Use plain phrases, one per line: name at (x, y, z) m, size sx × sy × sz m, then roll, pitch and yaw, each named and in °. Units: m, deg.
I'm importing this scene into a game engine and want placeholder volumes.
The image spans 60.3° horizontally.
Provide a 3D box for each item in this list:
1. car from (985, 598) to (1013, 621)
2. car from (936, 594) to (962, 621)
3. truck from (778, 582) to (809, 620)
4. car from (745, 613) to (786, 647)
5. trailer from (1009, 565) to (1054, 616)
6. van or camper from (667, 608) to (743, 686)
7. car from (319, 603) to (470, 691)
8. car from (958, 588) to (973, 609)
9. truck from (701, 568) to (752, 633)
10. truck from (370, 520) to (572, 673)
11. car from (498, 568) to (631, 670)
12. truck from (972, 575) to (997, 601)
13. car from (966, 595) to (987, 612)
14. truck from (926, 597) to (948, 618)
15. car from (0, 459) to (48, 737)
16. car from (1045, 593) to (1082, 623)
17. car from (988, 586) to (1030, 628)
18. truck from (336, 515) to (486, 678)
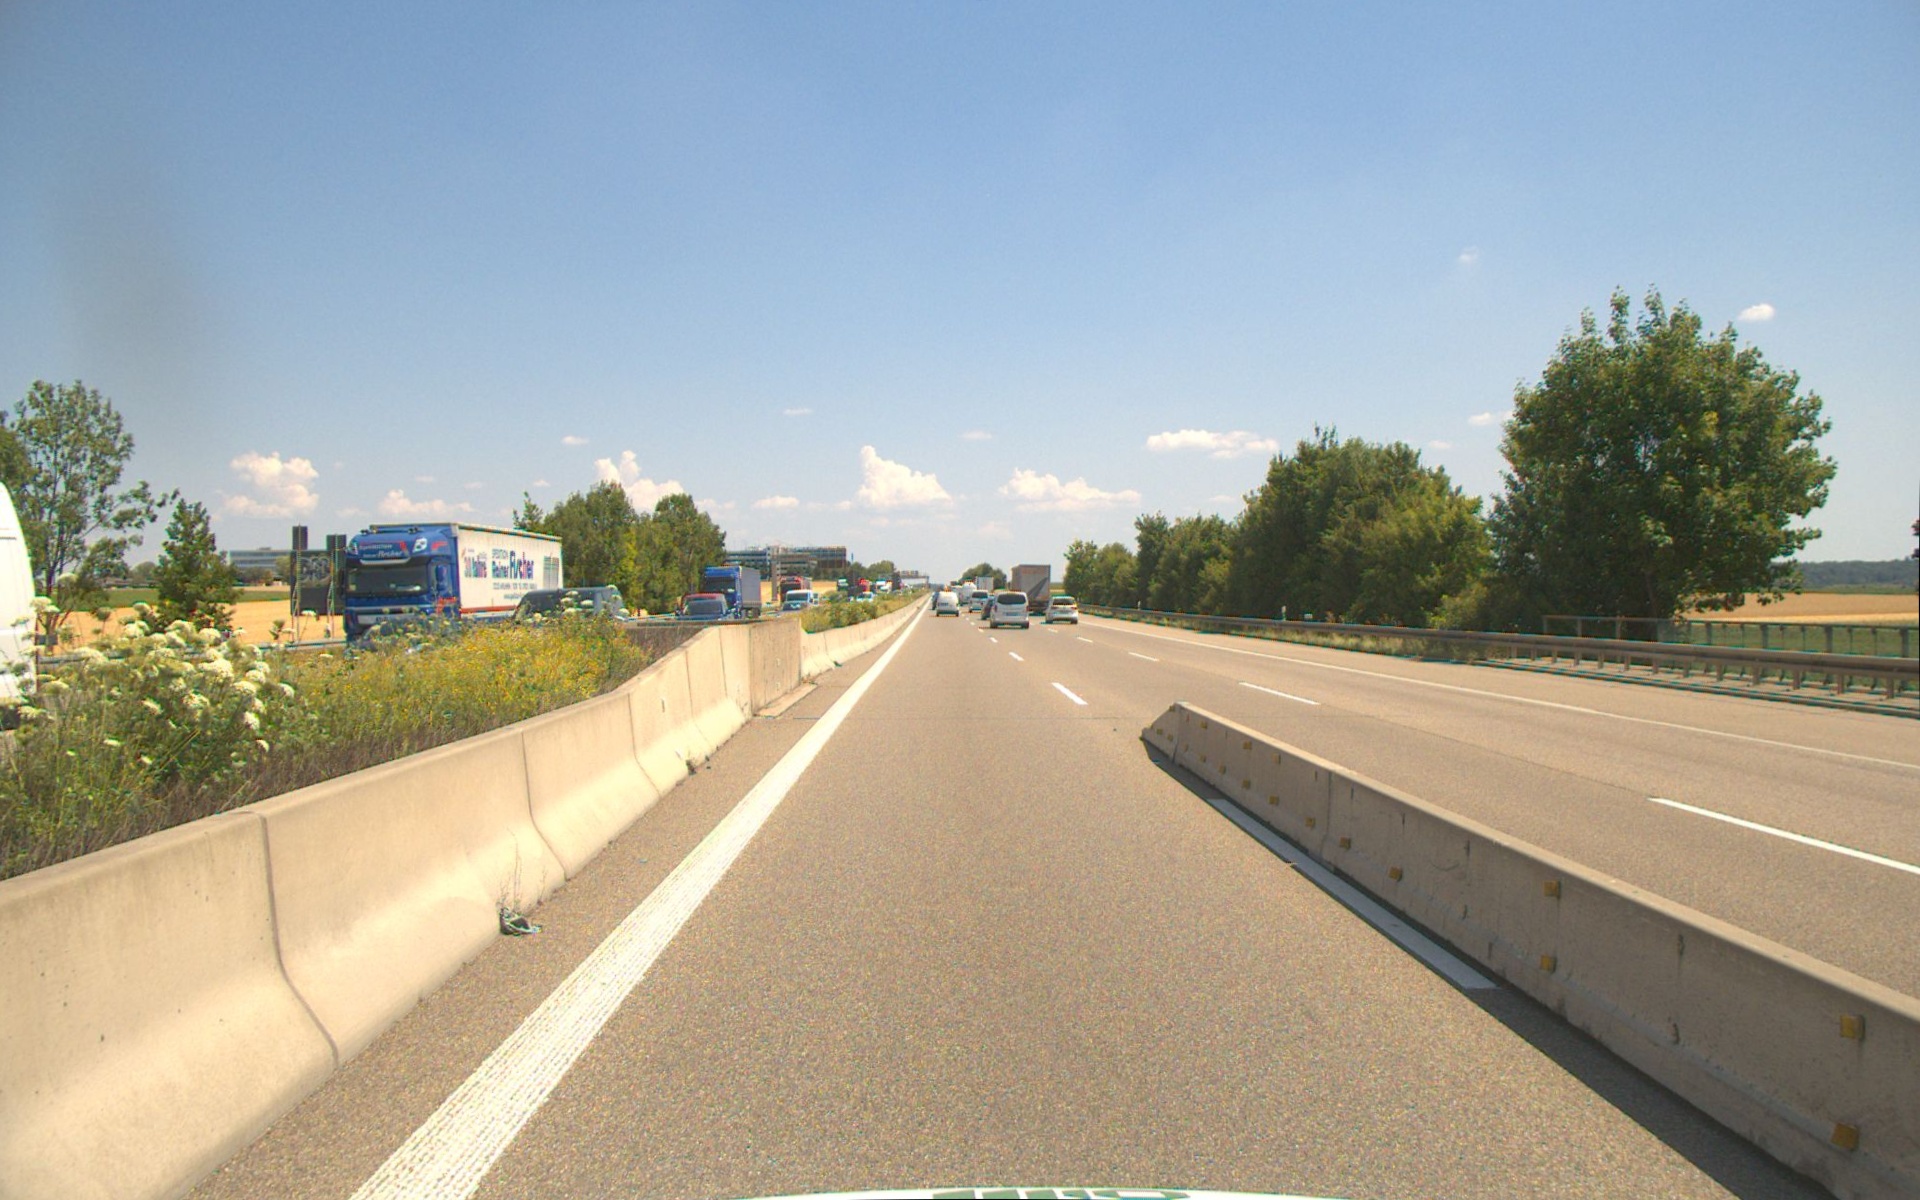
car at (2.613, 0.648, 112.289) m, size 1.737 × 1.473 × 3.999 m, roll 0°, pitch -1°, yaw -1°
car at (-0.864, 0.596, 126.854) m, size 1.953 × 2.049 × 3.999 m, roll 0°, pitch -1°, yaw -1°
truck at (-17.909, 0.066, 178.127) m, size 2.798 × 3.922 × 3.999 m, roll -2°, pitch 0°, yaw -1°
car at (-9.903, 1.501, 84.382) m, size 1.650 × 1.593 × 4.561 m, roll -1°, pitch 0°, yaw -2°
trailer at (5.902, -0.711, 138.472) m, size 3.211 × 4.037 × 9.110 m, roll 0°, pitch -1°, yaw -1°
van or camper at (-9.174, 1.650, 59.807) m, size 2.105 × 2.674 × 4.396 m, roll -1°, pitch 0°, yaw -1°
car at (-11.772, 0.926, 34.707) m, size 1.851 × 1.683 × 4.093 m, roll -1°, pitch 0°, yaw -2°
car at (0.697, -0.129, 199.747) m, size 1.737 × 2.434 × 3.999 m, roll 0°, pitch -1°, yaw -1°
truck at (-16.631, 0.045, 118.198) m, size 2.807 × 4.426 × 5.585 m, roll -1°, pitch 0°, yaw -1°
truck at (-15.829, -0.079, 55.029) m, size 2.540 × 4.312 × 14.119 m, roll -3°, pitch 0°, yaw -1°
car at (-8.282, 0.378, 35.052) m, size 1.776 × 1.980 × 4.613 m, roll -1°, pitch 0°, yaw -1°
truck at (3.853, -1.884, 262.522) m, size 3.738 × 3.973 × 9.578 m, roll -1°, pitch 0°, yaw -1°
car at (1.484, 0.350, 149.495) m, size 1.737 × 1.473 × 3.999 m, roll 0°, pitch -1°, yaw -1°
truck at (-2.345, 0.756, 166.302) m, size 2.167 × 2.049 × 4.970 m, roll -1°, pitch 0°, yaw -2°
car at (-7.781, -0.002, 9.989) m, size 1.953 × 1.980 × 4.793 m, roll -1°, pitch 0°, yaw -1°
car at (6.296, 0.512, 100.816) m, size 1.953 × 1.825 × 3.999 m, roll 0°, pitch -1°, yaw -1°
car at (2.515, 0.378, 85.716) m, size 1.953 × 2.157 × 3.999 m, roll 0°, pitch -1°, yaw -1°
truck at (-15.676, -0.091, 47.577) m, size 2.540 × 4.312 × 4.853 m, roll -3°, pitch 0°, yaw -1°
